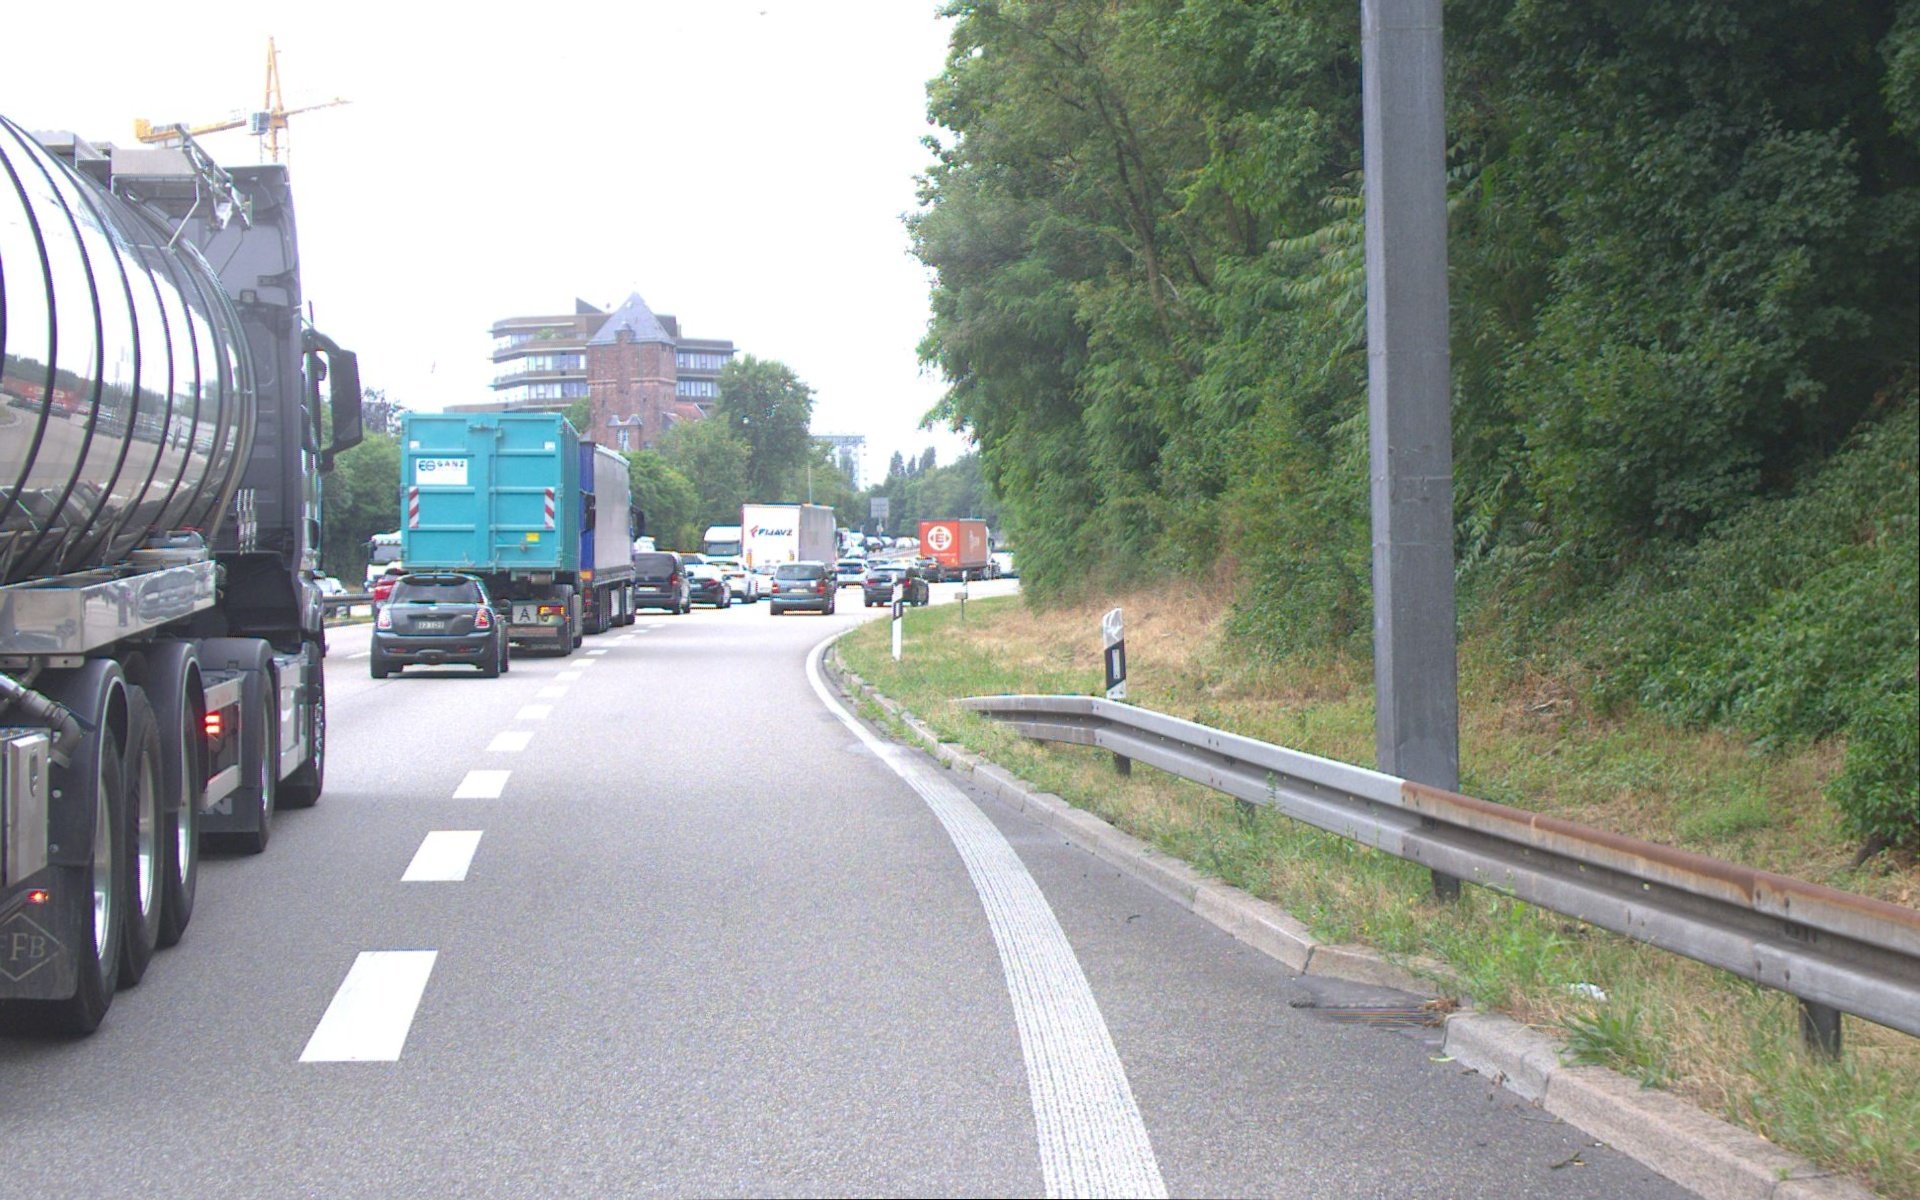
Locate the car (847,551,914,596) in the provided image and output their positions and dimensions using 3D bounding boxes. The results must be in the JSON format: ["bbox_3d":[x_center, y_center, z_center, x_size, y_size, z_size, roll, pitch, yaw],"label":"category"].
[{"bbox_3d":[-2.721,-0.920,118.507,1.825,1.477,3.999,-1,1,6],"label":"car"}]

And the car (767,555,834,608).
[{"bbox_3d":[-4.729,-0.557,102.331,1.825,1.477,4.000,-1,1,-1],"label":"car"}]

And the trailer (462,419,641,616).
[{"bbox_3d":[-8.954,-1.722,76.905,2.626,4.009,13.464,0,0,-1],"label":"trailer"}]

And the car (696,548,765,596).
[{"bbox_3d":[-8.573,-1.063,128.662,1.956,1.689,4.865,-1,1,3],"label":"car"}]

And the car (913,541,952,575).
[{"bbox_3d":[-1.683,-2.584,211.341,1.994,2.007,3.999,-1,1,5],"label":"car"}]

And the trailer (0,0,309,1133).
[{"bbox_3d":[-4.420,-0.650,13.859,2.682,3.894,10.989,-1,1,-7],"label":"trailer"}]

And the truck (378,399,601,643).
[{"bbox_3d":[-8.011,-1.331,59.871,2.929,3.783,11.332,-2,1,-4],"label":"truck"}]

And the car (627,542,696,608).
[{"bbox_3d":[-8.996,-0.775,103.680,1.987,1.891,4.986,-1,1,-5],"label":"car"}]

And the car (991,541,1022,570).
[{"bbox_3d":[3.339,-3.219,247.921,1.615,2.007,3.999,-1,1,9],"label":"car"}]

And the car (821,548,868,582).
[{"bbox_3d":[-5.992,-1.848,178.735,1.800,1.598,4.257,-2,1,6],"label":"car"}]

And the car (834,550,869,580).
[{"bbox_3d":[-5.736,-1.840,181.847,1.531,1.546,3.418,-1,1,3],"label":"car"}]

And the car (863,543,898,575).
[{"bbox_3d":[-5.122,-2.654,221.154,1.818,2.007,3.999,-1,1,5],"label":"car"}]

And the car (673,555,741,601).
[{"bbox_3d":[-8.490,-0.751,115.733,1.847,1.455,4.831,-1,1,1],"label":"car"}]

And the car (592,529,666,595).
[{"bbox_3d":[-13.230,-1.531,137.644,1.994,2.545,5.361,-1,1,5],"label":"car"}]

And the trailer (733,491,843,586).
[{"bbox_3d":[-7.522,-2.645,152.187,3.299,4.022,13.096,0,0,4],"label":"trailer"}]

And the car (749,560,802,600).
[{"bbox_3d":[-7.463,-0.823,139.288,1.764,1.473,4.089,-3,1,2],"label":"car"}]

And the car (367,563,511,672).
[{"bbox_3d":[-7.177,0.215,47.615,1.747,1.417,3.664,-1,1,-5],"label":"car"}]

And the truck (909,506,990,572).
[{"bbox_3d":[-0.613,-3.991,223.285,3.491,4.059,13.588,-1,1,7],"label":"truck"}]

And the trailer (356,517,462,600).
[{"bbox_3d":[-23.986,-1.835,150.188,2.470,3.384,12.463,-1,1,0],"label":"trailer"}]

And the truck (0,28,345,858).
[{"bbox_3d":[-5.120,-0.775,19.587,2.682,3.894,6.937,-1,1,-7],"label":"truck"}]

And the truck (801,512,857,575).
[{"bbox_3d":[-8.792,-3.745,231.163,2.739,4.124,10.696,0,0,3],"label":"truck"}]
